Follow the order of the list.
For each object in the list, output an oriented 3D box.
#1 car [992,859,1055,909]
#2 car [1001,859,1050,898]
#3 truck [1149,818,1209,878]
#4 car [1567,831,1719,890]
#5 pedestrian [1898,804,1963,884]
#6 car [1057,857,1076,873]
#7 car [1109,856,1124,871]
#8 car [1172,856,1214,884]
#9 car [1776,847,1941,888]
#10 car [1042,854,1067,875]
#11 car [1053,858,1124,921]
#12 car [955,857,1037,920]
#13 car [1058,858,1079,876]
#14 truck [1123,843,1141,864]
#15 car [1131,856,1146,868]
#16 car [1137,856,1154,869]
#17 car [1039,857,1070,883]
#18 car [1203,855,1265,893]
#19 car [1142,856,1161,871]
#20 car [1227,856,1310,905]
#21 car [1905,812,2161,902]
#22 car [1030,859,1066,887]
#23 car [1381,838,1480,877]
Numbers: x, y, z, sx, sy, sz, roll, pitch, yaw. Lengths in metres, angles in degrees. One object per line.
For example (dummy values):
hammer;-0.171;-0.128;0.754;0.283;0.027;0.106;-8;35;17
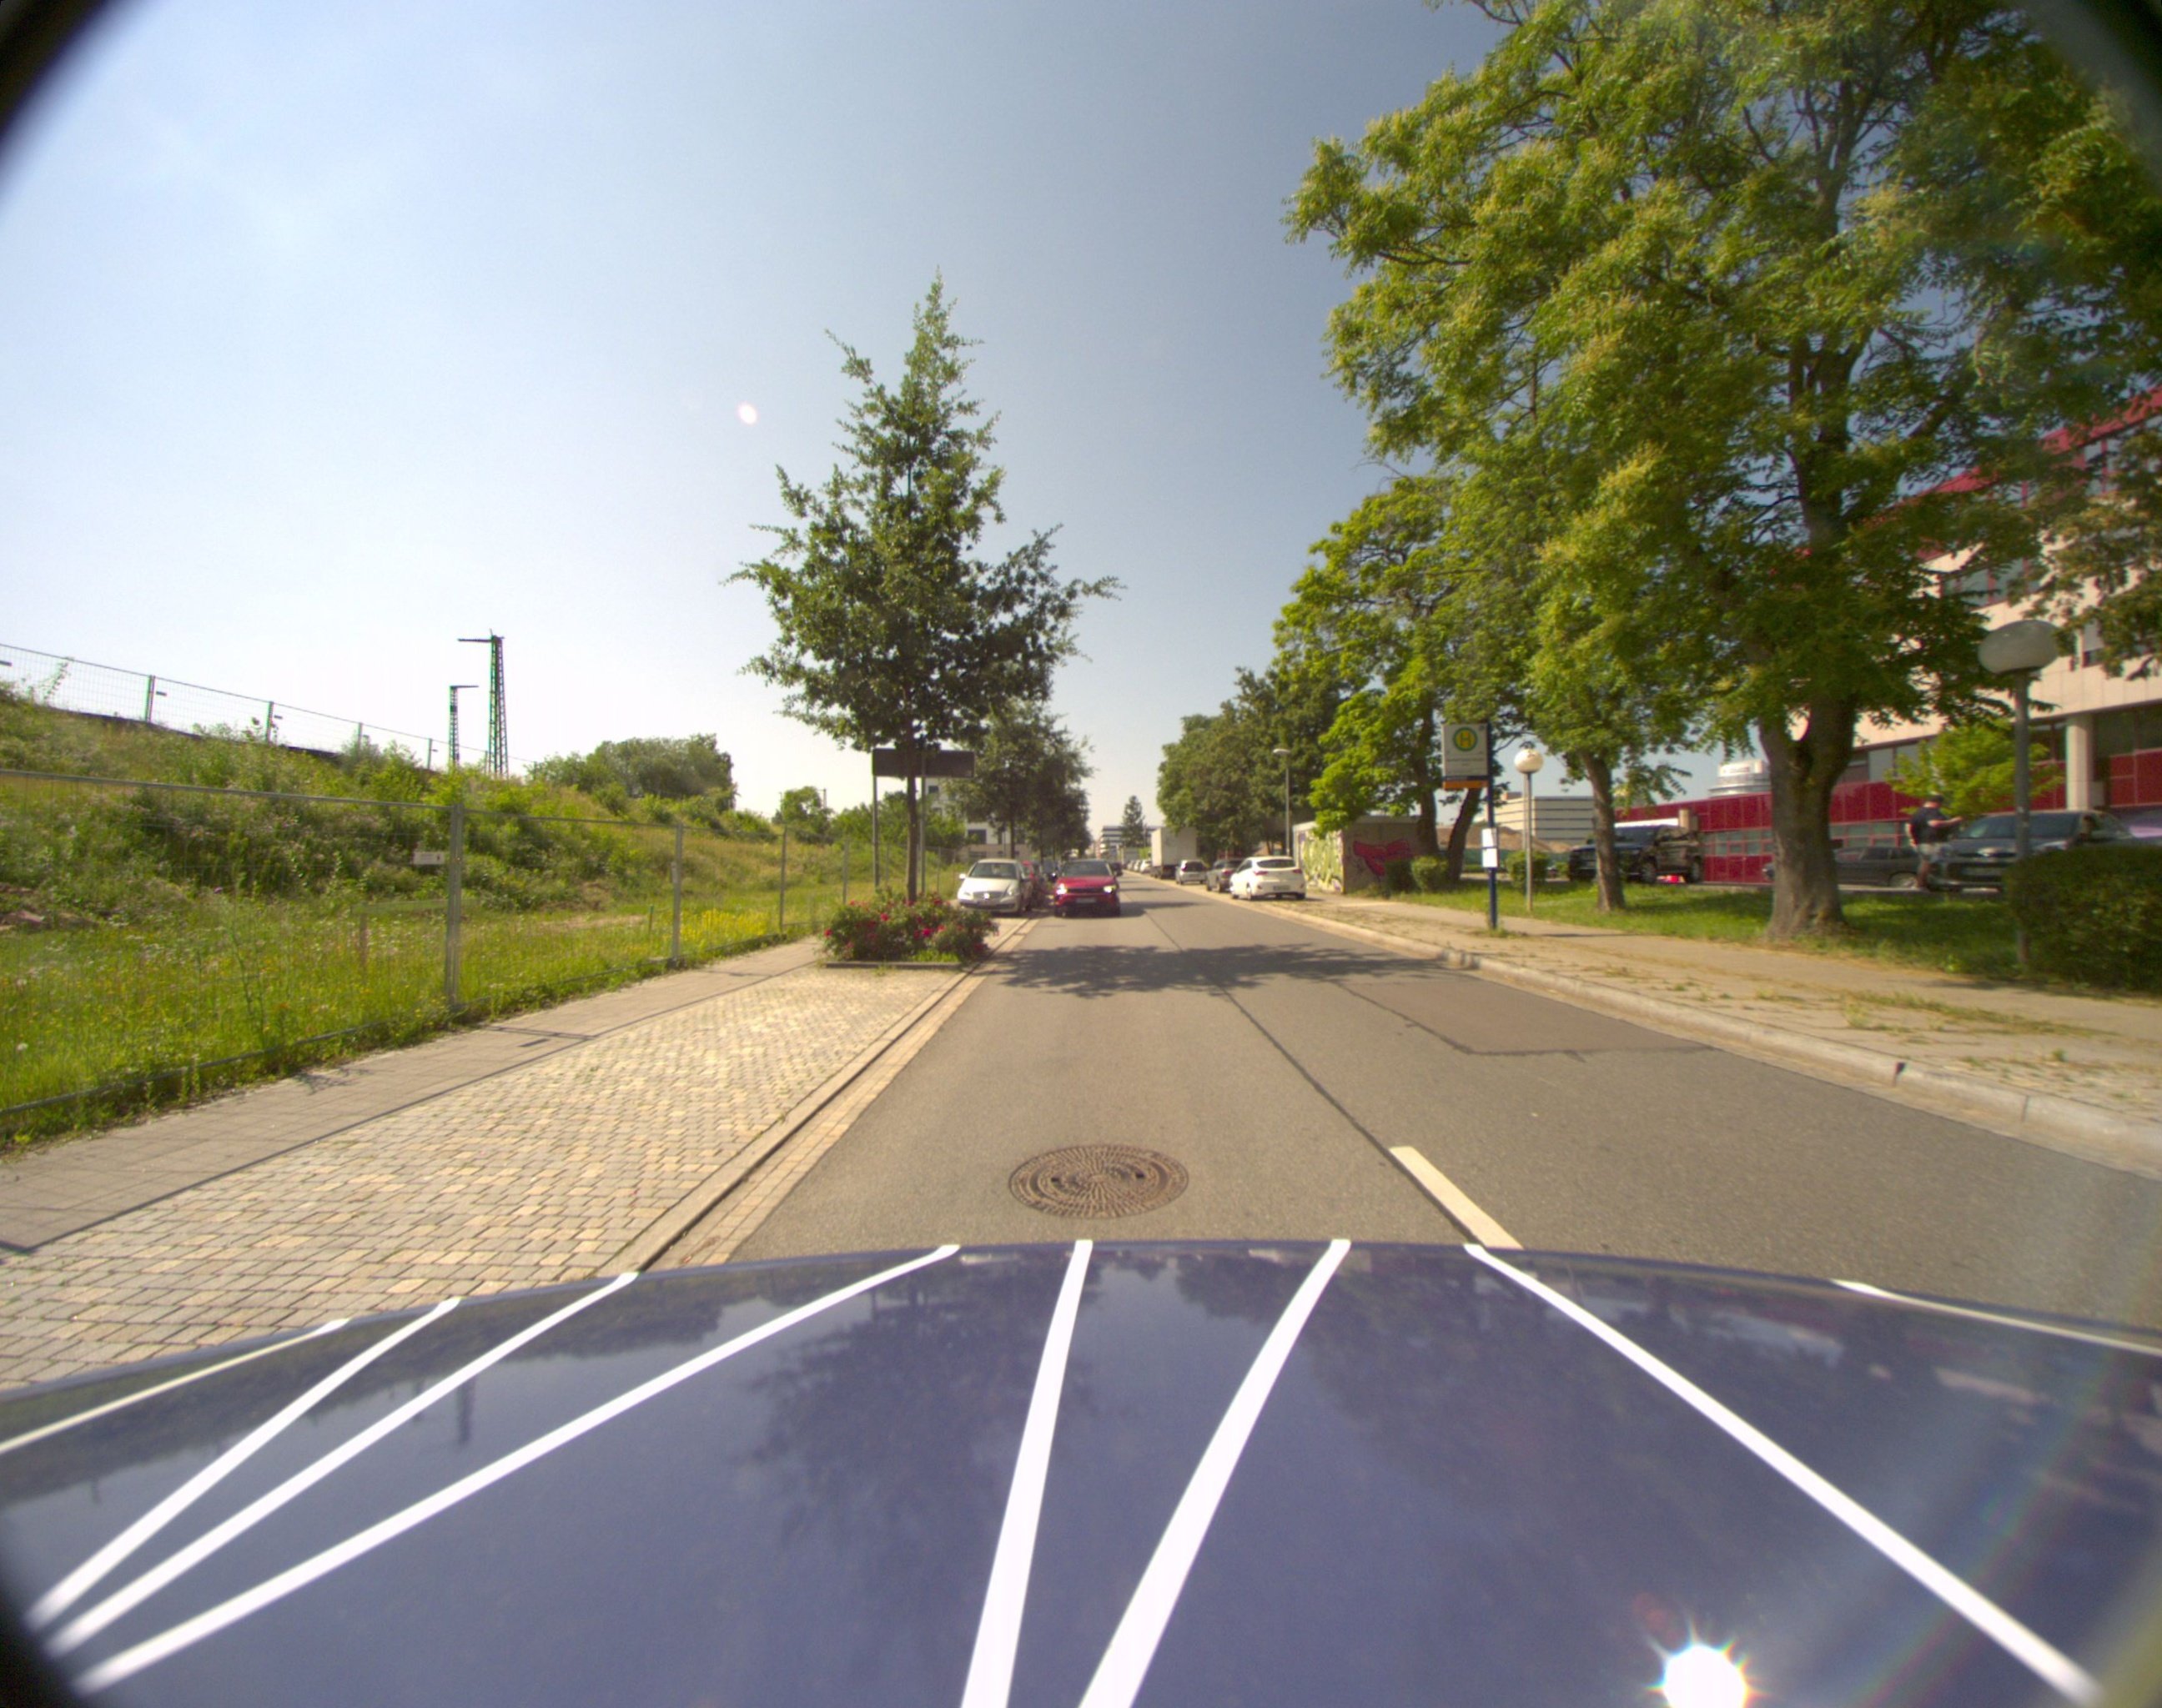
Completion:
car;-1.954;1.016;26.859;1.847;1.606;4.000;1;-1;1
car;-2.439;1.068;34.341;1.847;1.606;4.000;1;-1;1
truck;7.266;-0.379;57.663;3.353;4.119;9.279;-2;0;1
car;16.194;0.149;21.817;4.824;1.484;1.848;-2;0;-32
pedestrian;16.562;-0.189;14.828;0.563;1.518;0.758;-1;0;22
car;-1.466;1.175;79.093;1.847;1.606;4.000;1;-1;1
car;4.457;1.158;96.174;1.790;1.783;4.001;-1;0;2
car;6.566;0.927;44.821;1.815;1.506;4.000;-2;0;0
car;28.927;0.506;28.475;4.228;1.443;1.726;-1;0;43
car;-2.135;0.854;62.167;1.847;1.606;4.000;1;-1;1
car;0.191;0.963;22.244;1.821;1.594;4.307;-2;-1;0
car;-2.397;0.949;22.508;1.847;1.606;4.370;2;-1;1
car;-1.132;1.182;71.108;1.847;1.606;4.000;1;-1;1
truck;8.155;-0.030;121.424;2.701;3.300;7.345;-1;0;4
car;7.990;1.088;105.705;1.814;1.506;4.001;-2;0;2
car;7.935;1.033;93.257;1.814;1.506;4.001;-2;0;2
car;-1.719;1.066;50.588;1.847;1.606;4.000;1;-1;1
car;6.593;0.832;33.055;1.815;1.506;4.000;-2;0;0
car;7.621;0.982;82.209;1.814;1.506;4.001;-2;0;2
car;6.254;0.836;25.768;1.766;1.484;4.000;-2;0;0
car;16.618;0.018;13.208;3.993;1.330;1.715;-2;0;-21
car;-1.881;1.065;44.263;1.869;1.533;4.000;-1;0;0
car;17.119;0.154;37.218;4.724;1.793;1.996;0;-1;-30
